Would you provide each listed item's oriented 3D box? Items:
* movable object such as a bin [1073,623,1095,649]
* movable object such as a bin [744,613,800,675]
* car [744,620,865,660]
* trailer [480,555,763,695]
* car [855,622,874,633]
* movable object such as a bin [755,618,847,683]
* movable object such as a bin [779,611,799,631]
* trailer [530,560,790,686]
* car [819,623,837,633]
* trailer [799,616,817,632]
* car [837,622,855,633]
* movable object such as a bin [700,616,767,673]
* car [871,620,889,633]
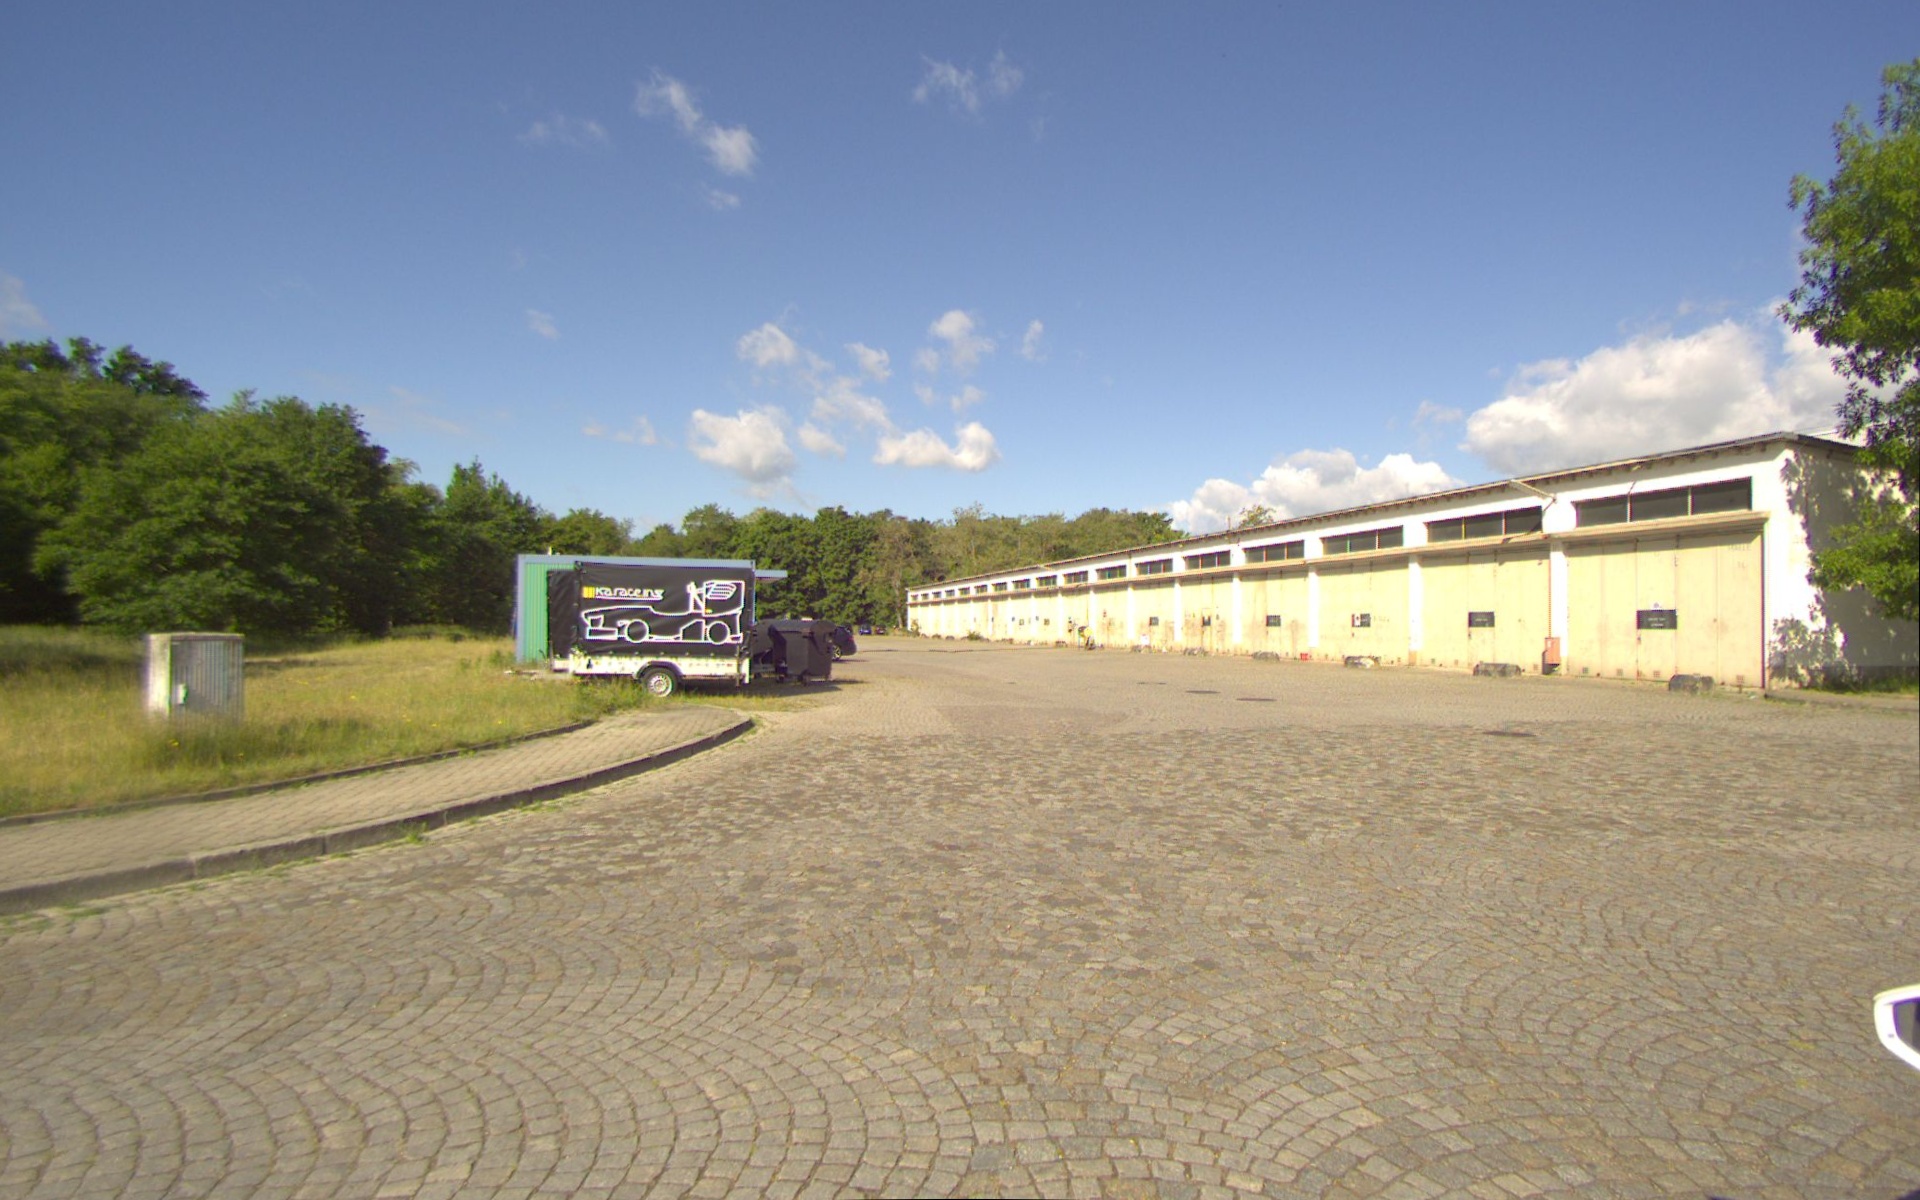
[{"bbox_3d":[7.023,2.027,56.857,0.863,1.420,1.098,1,-1,-15],"label":"movable object such as a bin"},{"bbox_3d":[-4.592,1.060,24.481,1.278,1.441,1.532,1,-1,-13],"label":"movable object such as a bin"},{"bbox_3d":[-6.025,1.526,38.803,4.358,1.484,1.993,1,-1,-18],"label":"car"},{"bbox_3d":[-5.971,0.470,18.305,4.590,2.328,2.132,1,-1,-13],"label":"trailer"},{"bbox_3d":[-13.079,3.752,137.698,1.966,1.485,3.989,0,-1,-14],"label":"car"},{"bbox_3d":[-3.559,1.109,22.585,1.509,1.404,1.383,0,-1,32],"label":"movable object such as a bin"},{"bbox_3d":[-23.258,2.861,136.751,2.203,2.692,3.986,1,-1,-16],"label":"movable object such as a bin"},{"bbox_3d":[-6.133,0.490,20.824,4.897,2.386,2.088,1,-1,-18],"label":"trailer"},{"bbox_3d":[-17.882,3.751,136.081,1.966,1.275,3.989,0,-1,-14],"label":"car"},{"bbox_3d":[-20.725,3.265,136.622,1.966,2.191,4.419,0,-1,-15],"label":"trailer"},{"bbox_3d":[-15.557,3.762,137.068,1.966,1.443,3.989,0,-1,-14],"label":"car"},{"bbox_3d":[-5.848,1.132,25.889,1.368,1.404,1.526,1,-1,-26],"label":"movable object such as a bin"},{"bbox_3d":[-11.121,3.684,139.488,1.966,1.796,3.989,0,-1,-14],"label":"car"}]
